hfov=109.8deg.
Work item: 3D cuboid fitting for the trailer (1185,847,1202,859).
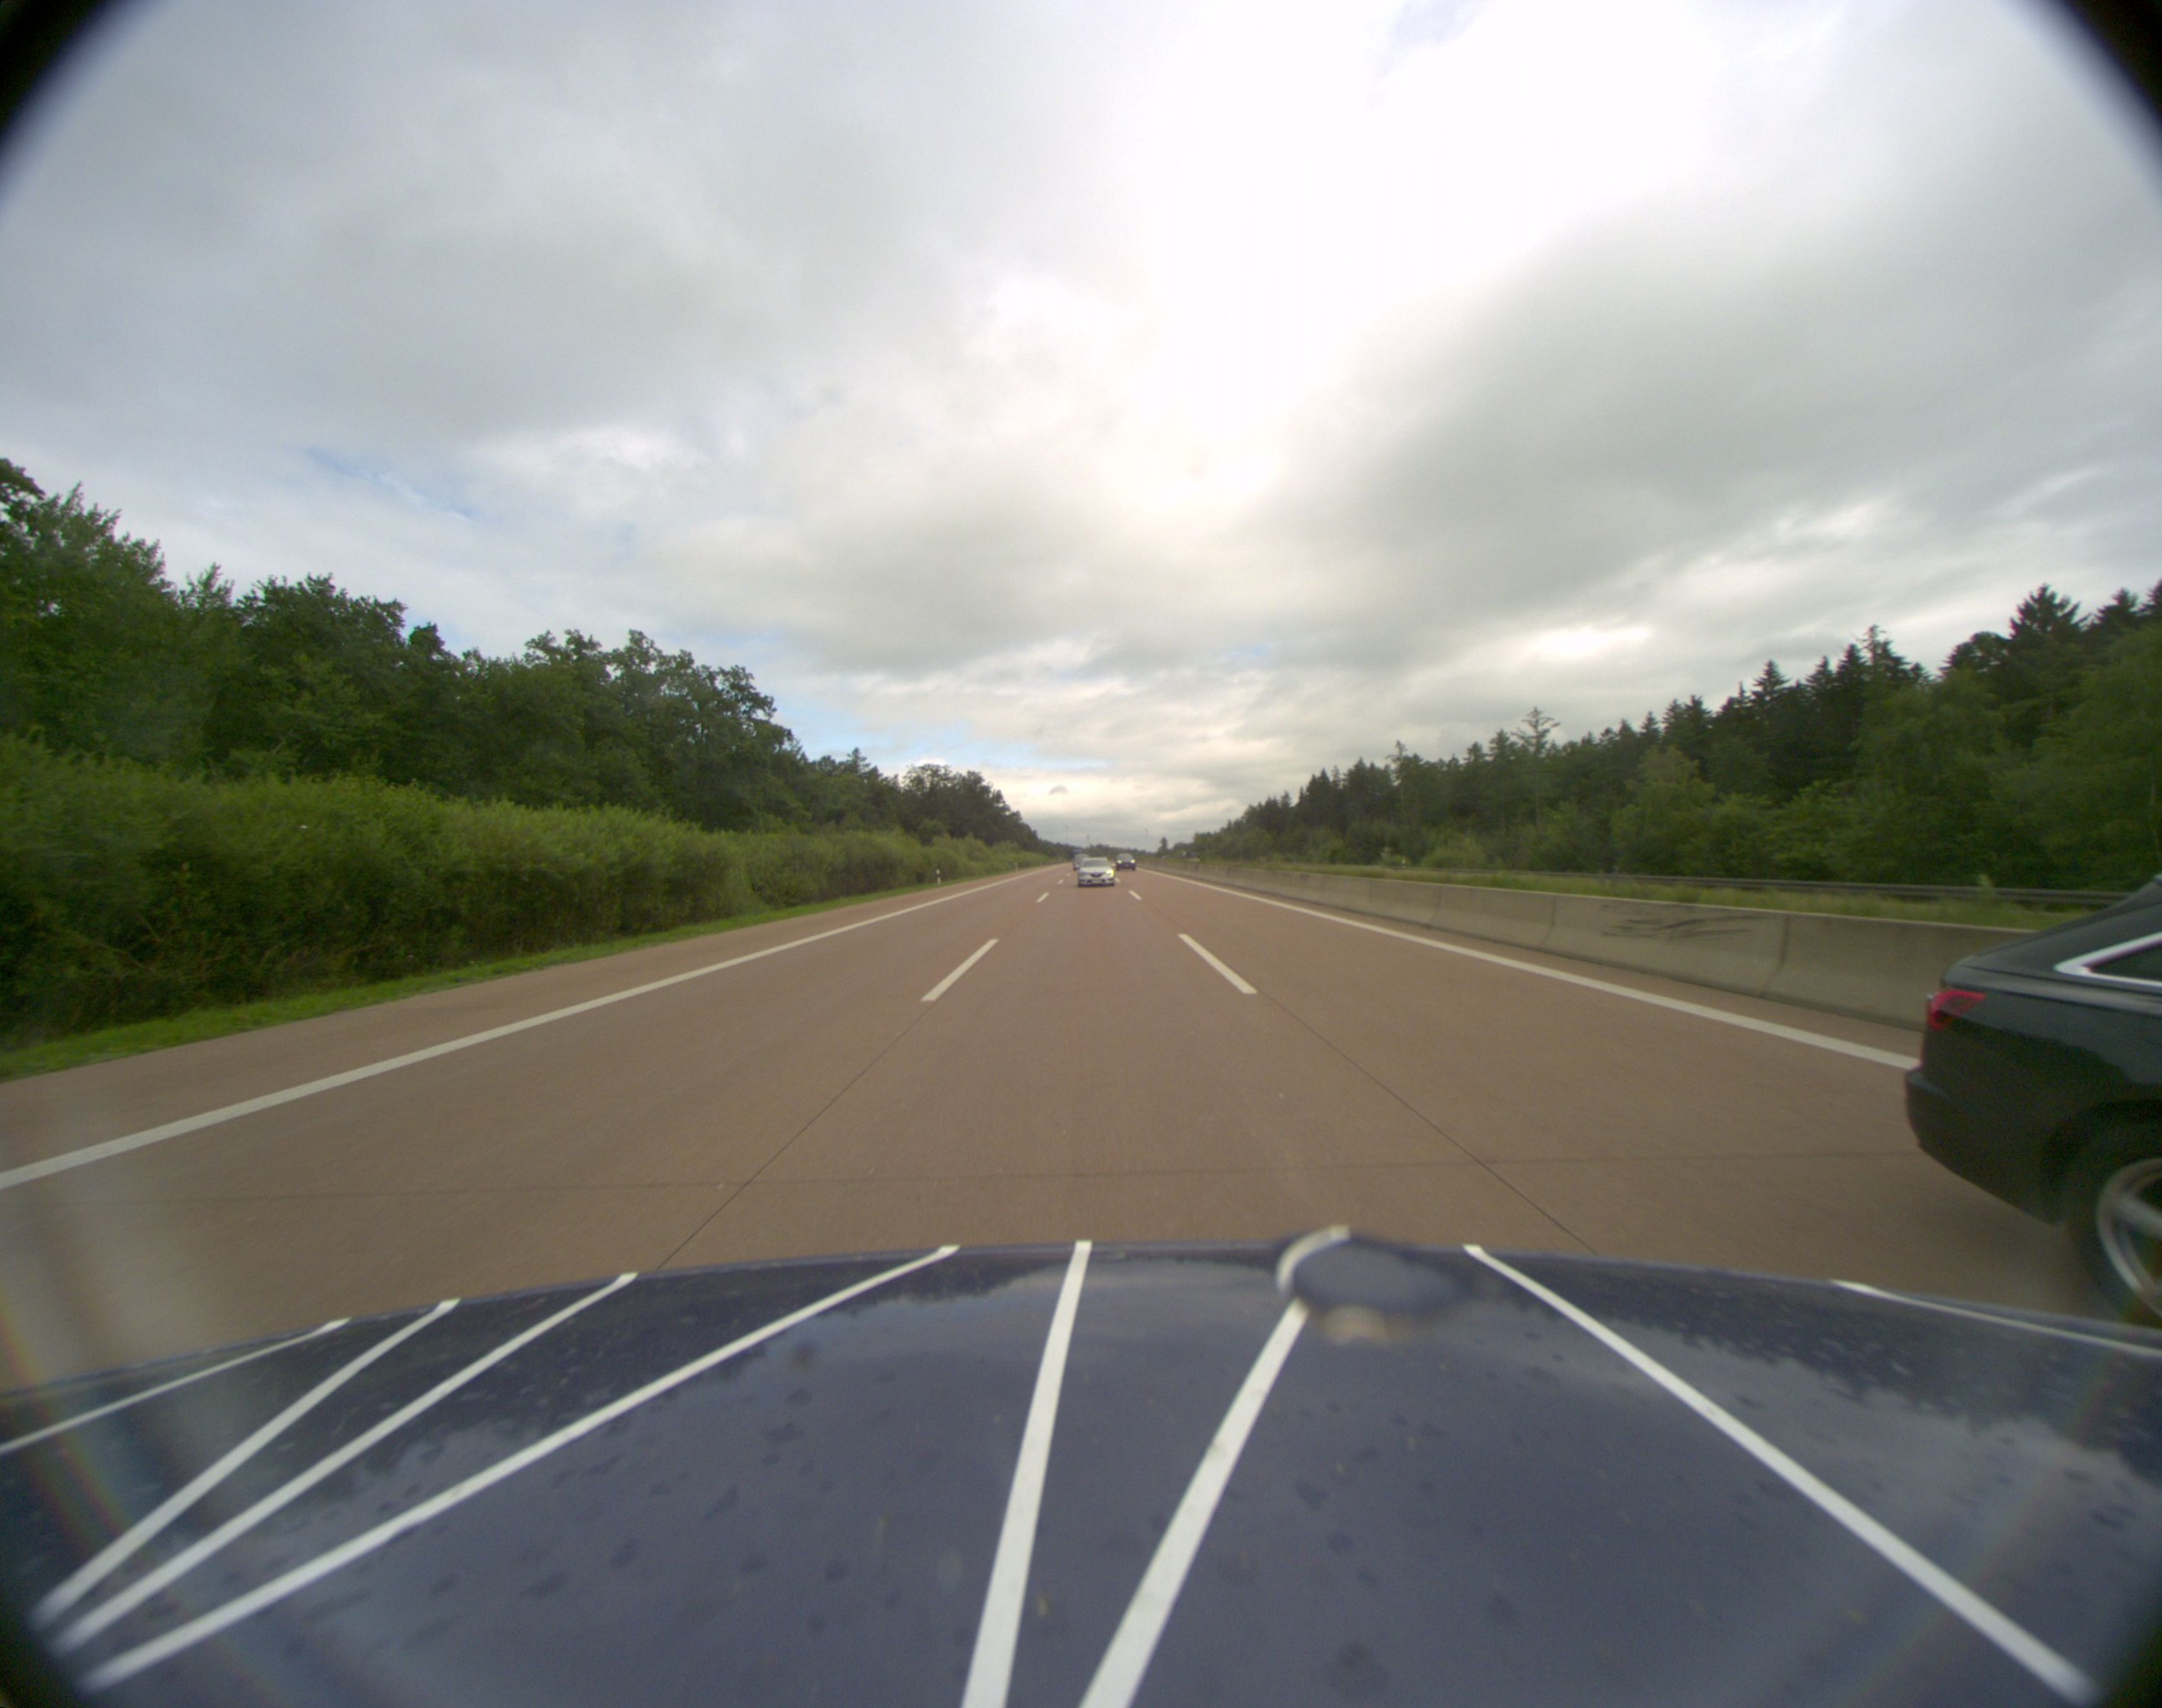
[{"bbox_3d":[21.214,-0.157,143.176,2.337,2.149,6.189,-2,0,1],"label":"trailer"}]

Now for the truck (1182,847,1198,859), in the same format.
[{"bbox_3d":[21.328,-0.215,149.292,2.352,2.149,6.043,-2,0,1],"label":"truck"}]

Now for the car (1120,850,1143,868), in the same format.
[{"bbox_3d":[4.992,0.436,75.479,1.998,1.689,5.252,-2,0,1],"label":"car"}]

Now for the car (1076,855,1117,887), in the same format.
[{"bbox_3d":[0.861,0.823,38.563,1.923,1.515,4.001,-2,0,3],"label":"car"}]

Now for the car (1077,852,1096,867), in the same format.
[{"bbox_3d":[0.619,0.608,84.401,1.986,1.499,4.052,-2,0,1],"label":"car"}]

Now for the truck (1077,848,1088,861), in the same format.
[{"bbox_3d":[0.512,0.250,243.854,2.956,3.705,7.950,-5,0,1],"label":"truck"}]
